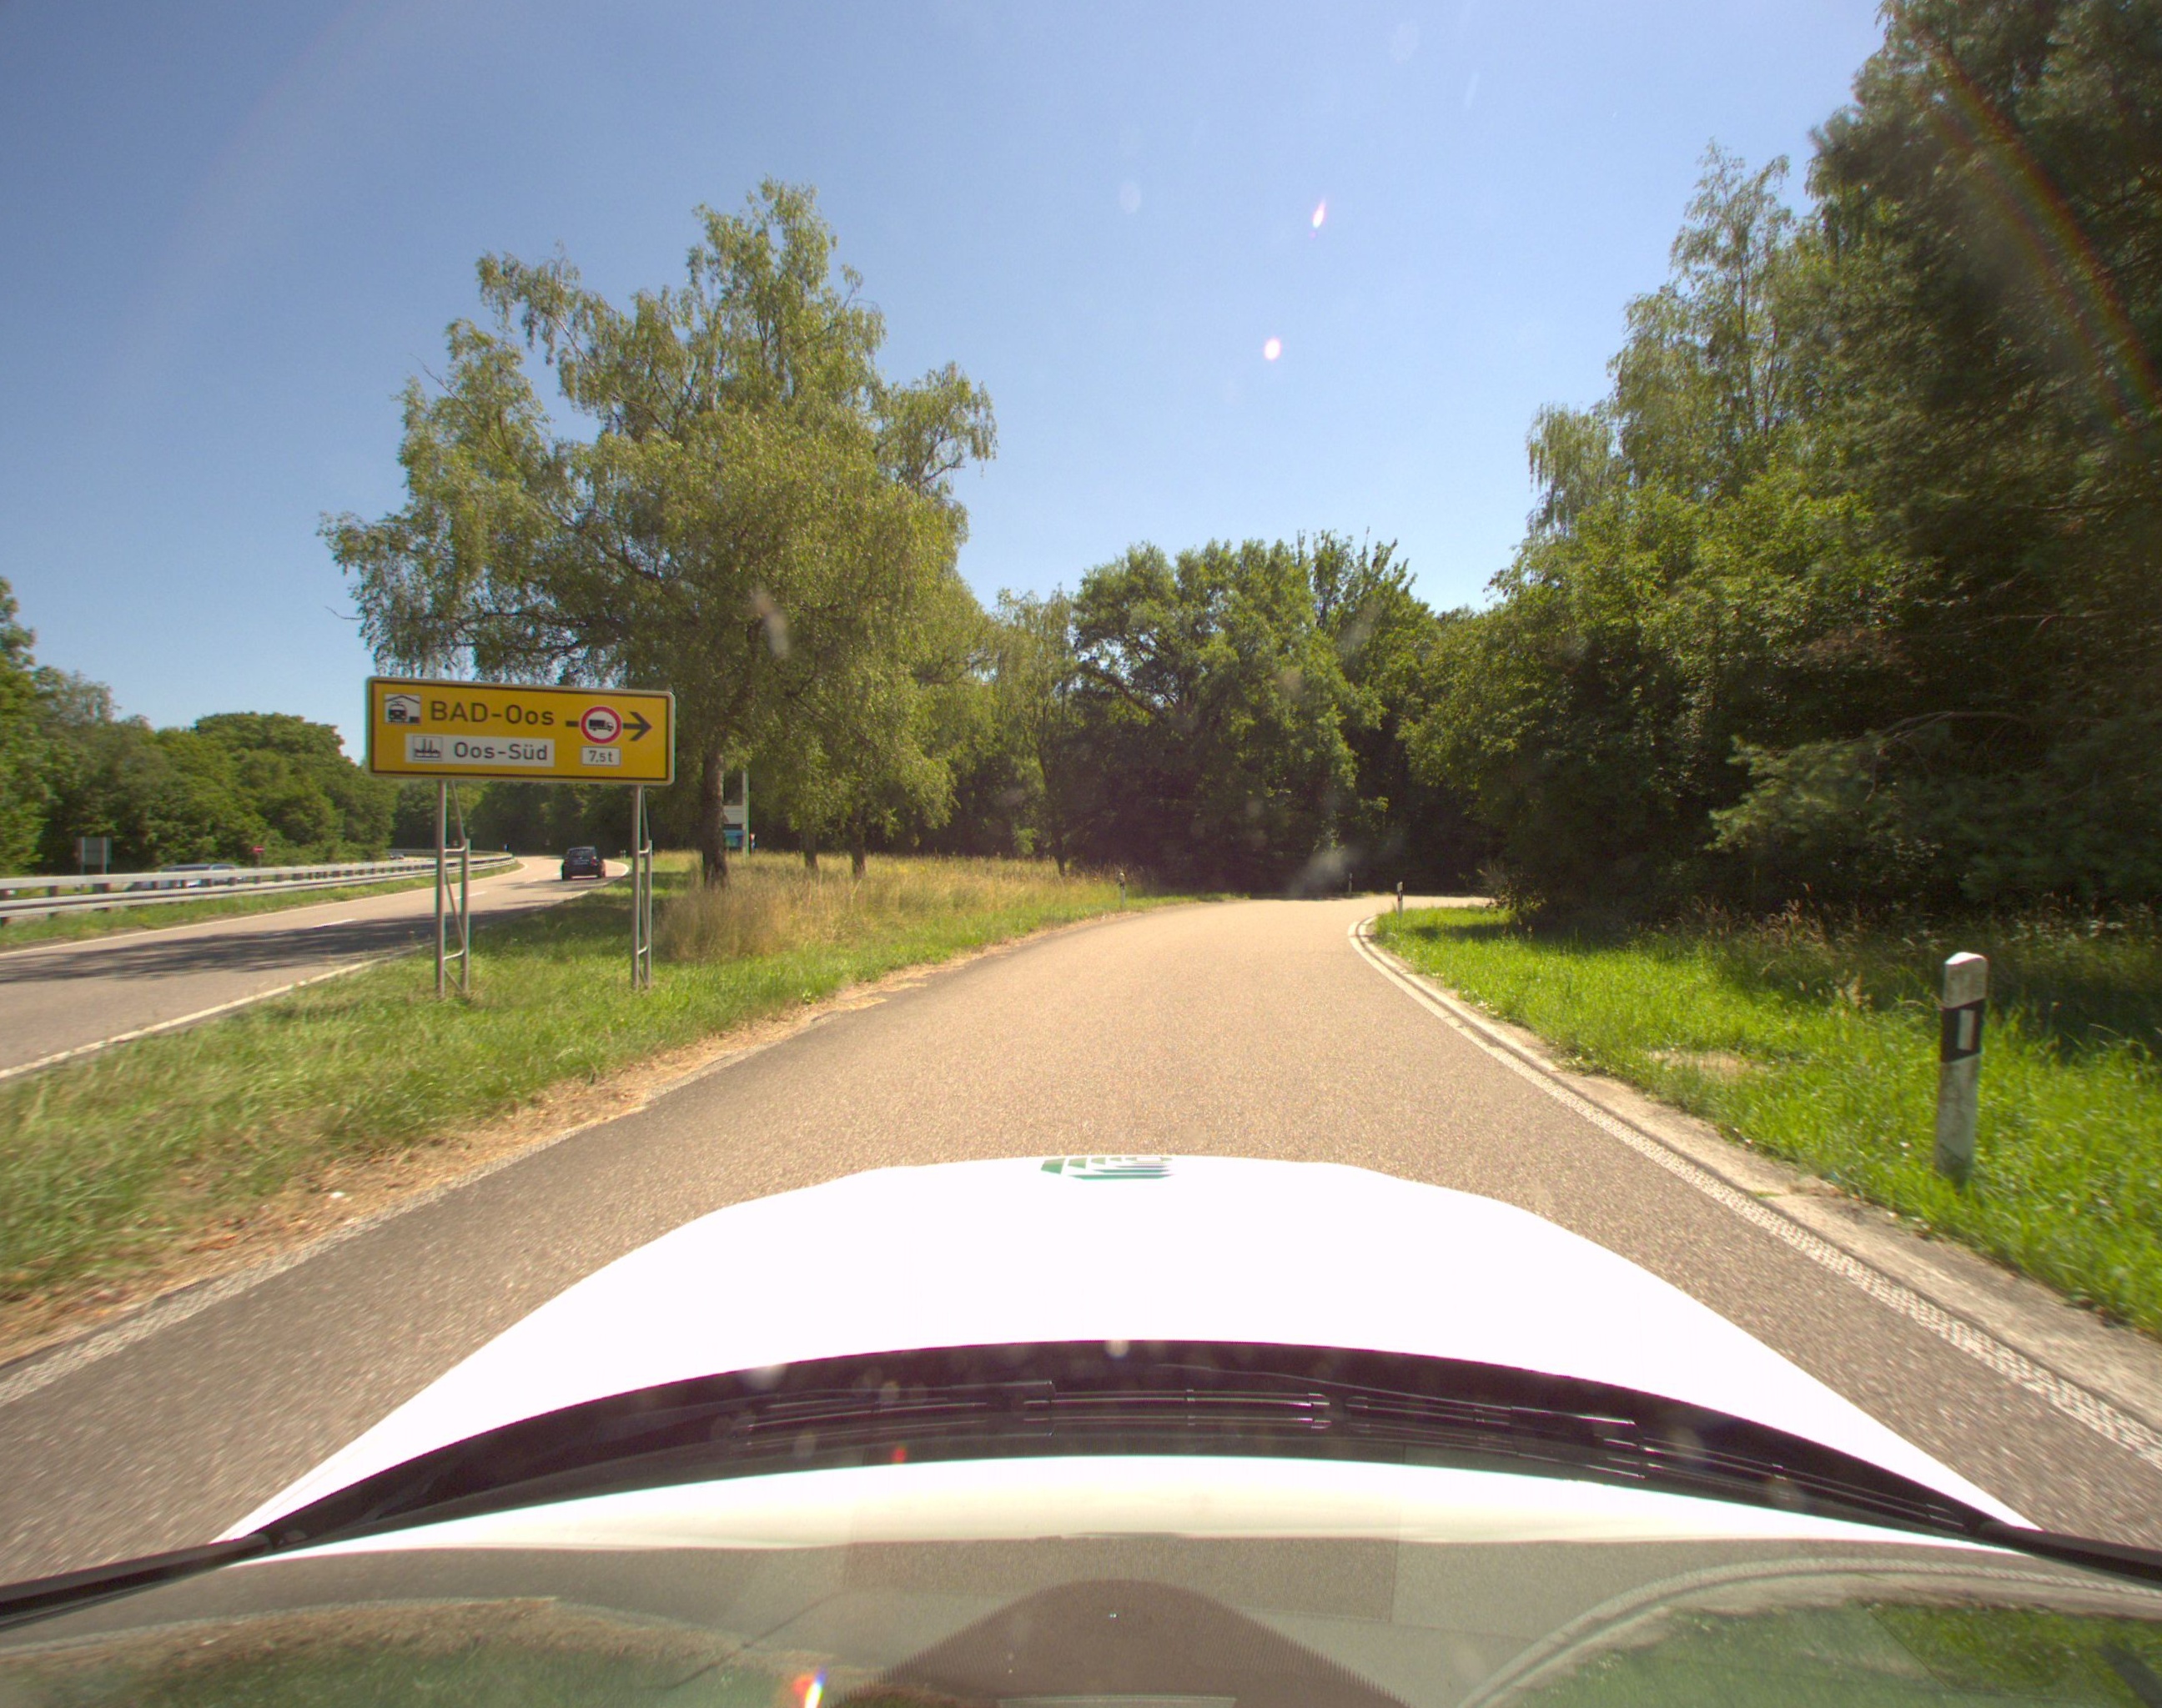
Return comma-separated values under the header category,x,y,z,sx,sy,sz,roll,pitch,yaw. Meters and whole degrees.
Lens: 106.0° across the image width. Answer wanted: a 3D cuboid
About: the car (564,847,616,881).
category,x,y,z,sx,sy,sz,roll,pitch,yaw
car,-23.418,0.436,38.955,1.520,1.500,3.563,-2,1,-22
